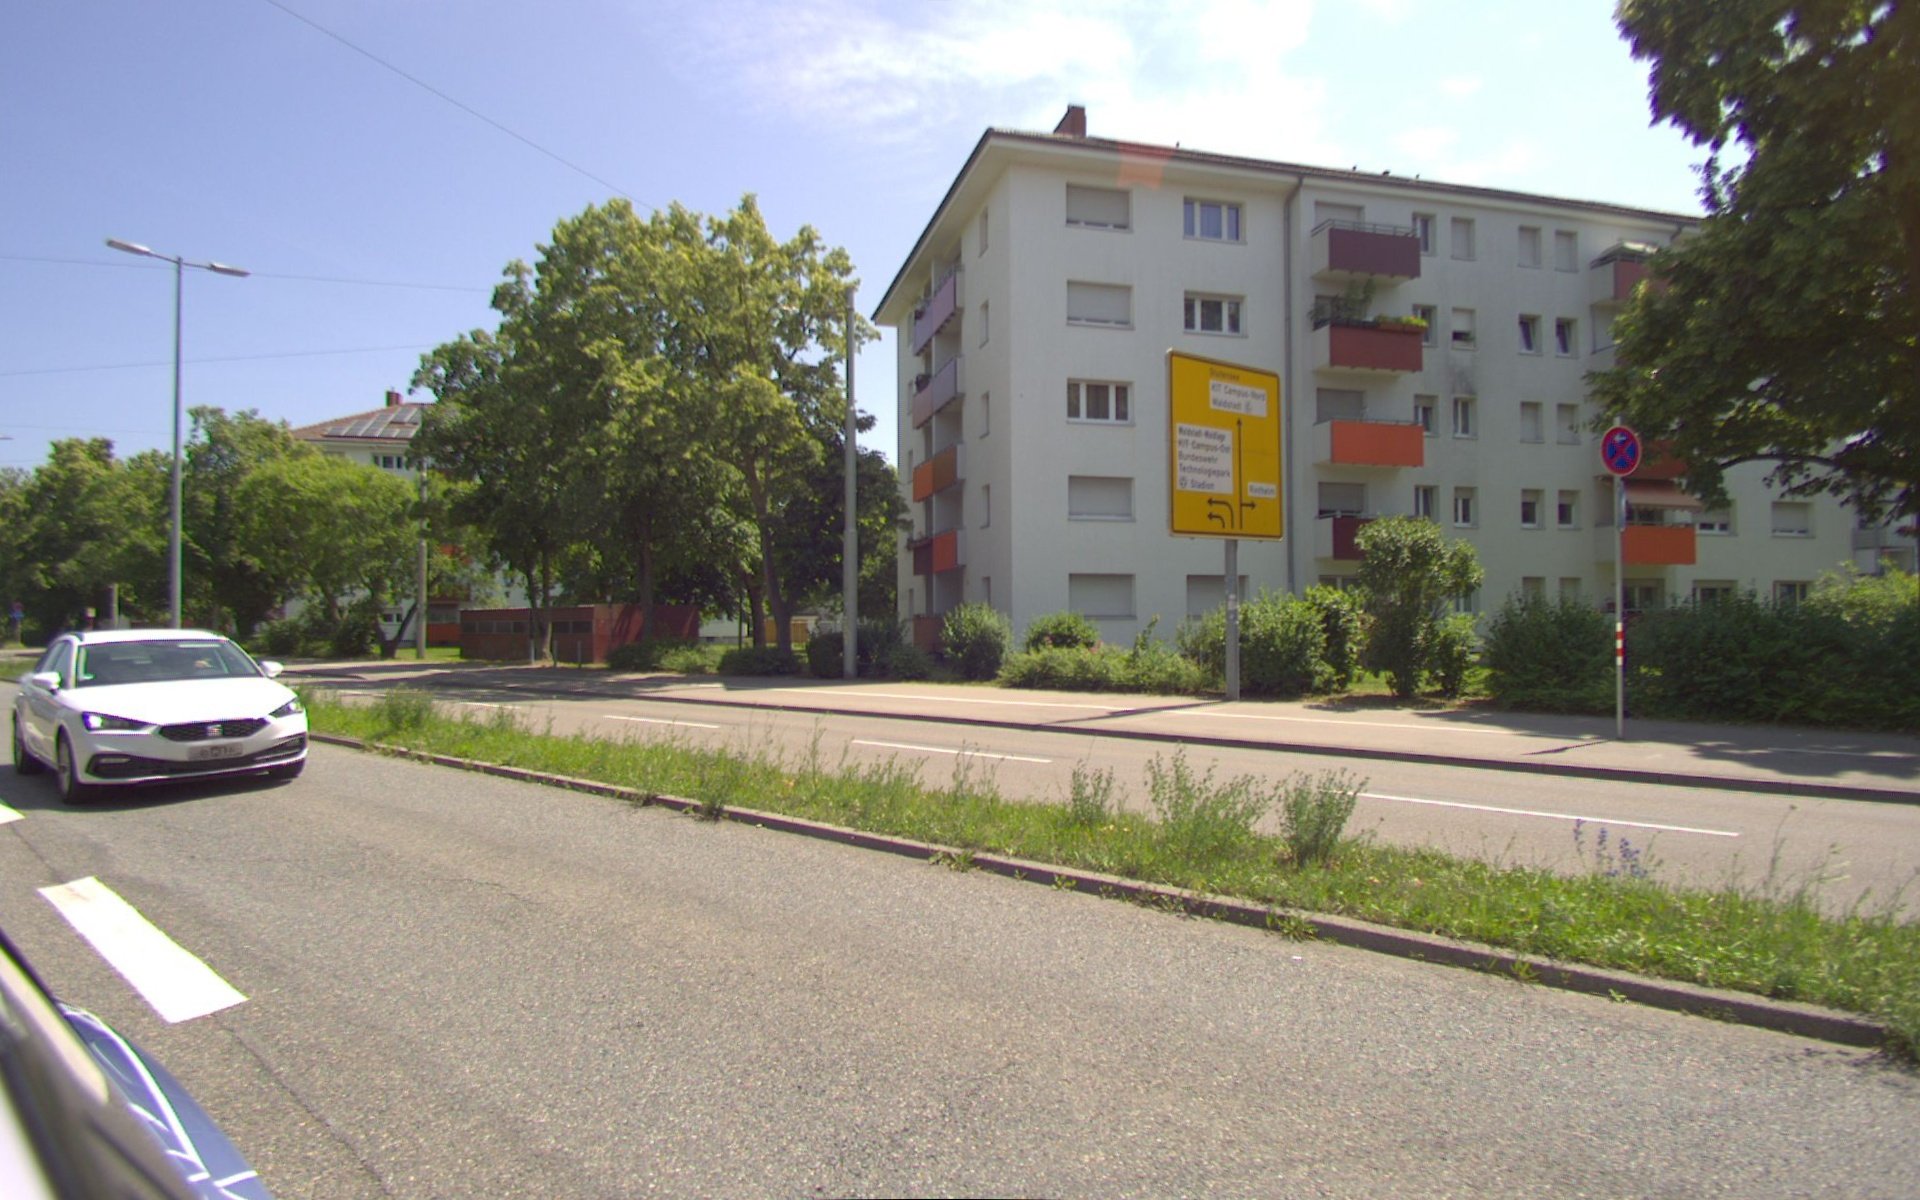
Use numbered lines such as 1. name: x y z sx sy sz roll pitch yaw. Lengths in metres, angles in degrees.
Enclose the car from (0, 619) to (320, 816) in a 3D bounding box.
1. car: -7.951 0.968 9.874 4.109 1.479 1.750 -2 0 41
